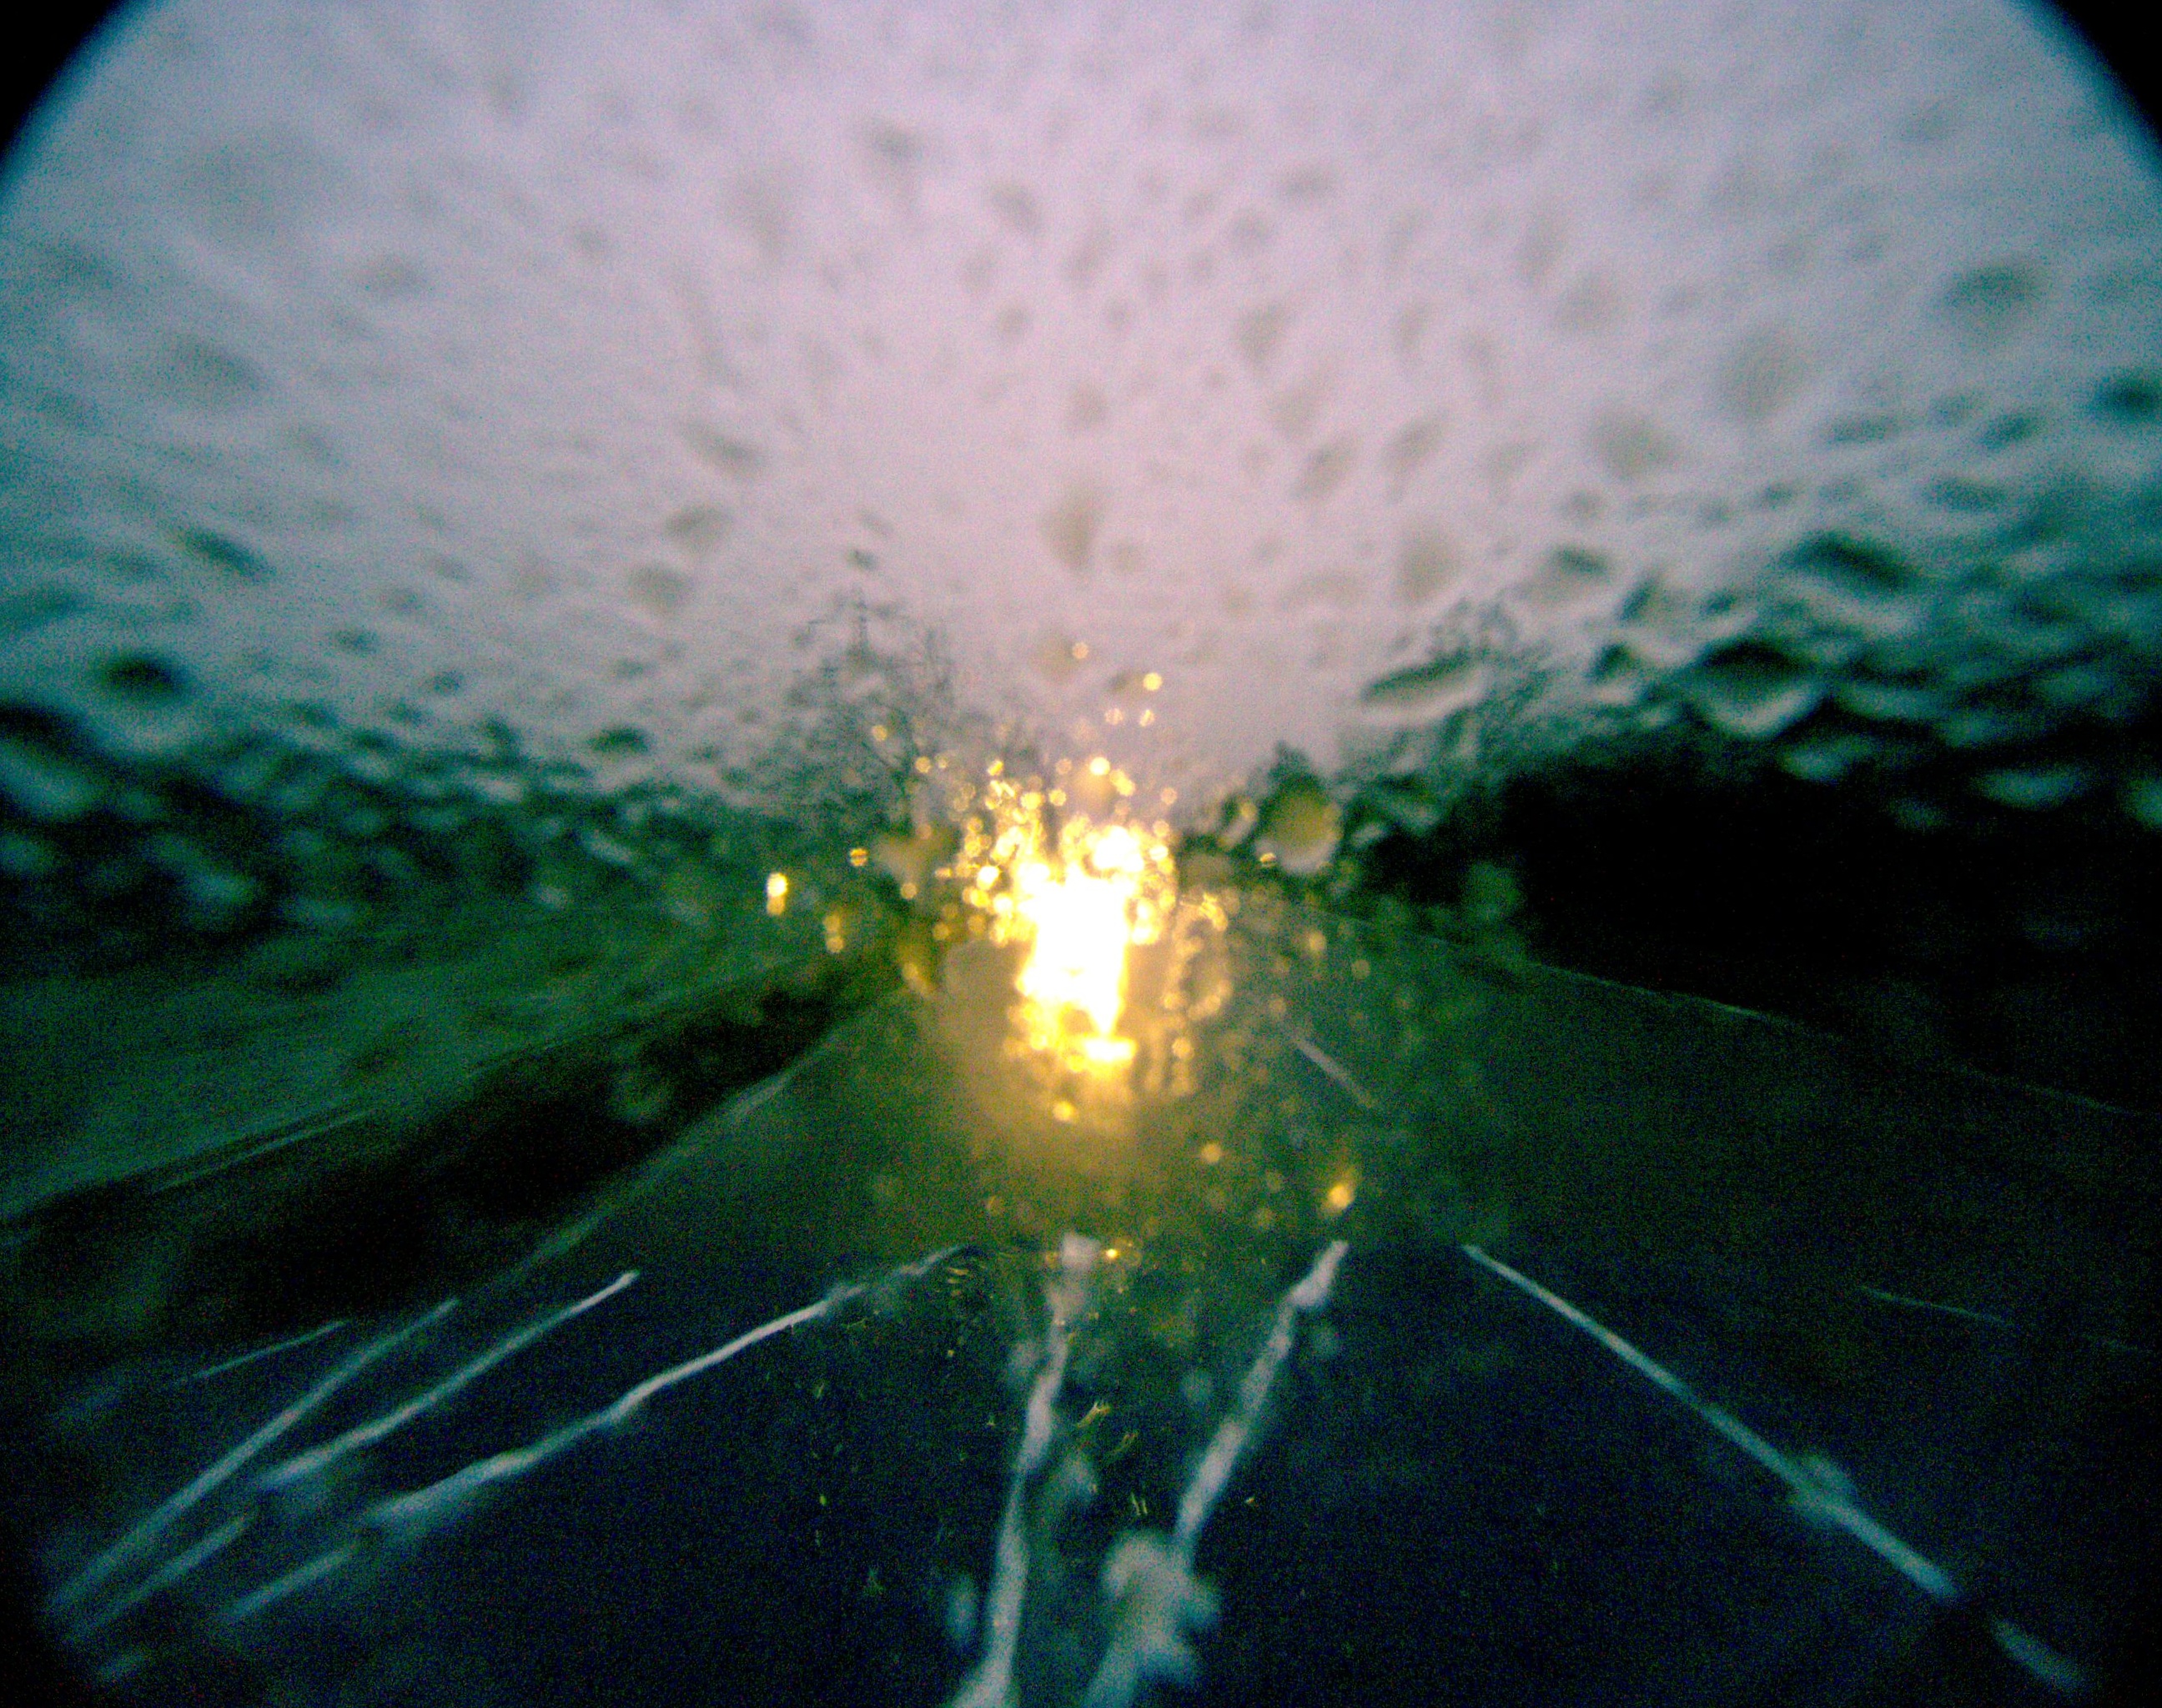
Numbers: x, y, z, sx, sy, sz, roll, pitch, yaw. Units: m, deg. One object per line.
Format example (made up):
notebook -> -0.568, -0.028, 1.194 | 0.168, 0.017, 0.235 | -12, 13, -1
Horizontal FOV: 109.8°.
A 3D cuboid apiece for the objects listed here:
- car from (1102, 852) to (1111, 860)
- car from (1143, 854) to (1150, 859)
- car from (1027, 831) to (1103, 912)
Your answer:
car -> 5.443, 0.494, 160.984 | 1.912, 1.549, 3.928 | -2, 1, 2
car -> 20.531, 0.737, 239.423 | 1.912, 1.654, 3.929 | -2, 1, 3
car -> -0.390, 0.469, 23.517 | 1.953, 2.195, 4.535 | -2, 1, 3
